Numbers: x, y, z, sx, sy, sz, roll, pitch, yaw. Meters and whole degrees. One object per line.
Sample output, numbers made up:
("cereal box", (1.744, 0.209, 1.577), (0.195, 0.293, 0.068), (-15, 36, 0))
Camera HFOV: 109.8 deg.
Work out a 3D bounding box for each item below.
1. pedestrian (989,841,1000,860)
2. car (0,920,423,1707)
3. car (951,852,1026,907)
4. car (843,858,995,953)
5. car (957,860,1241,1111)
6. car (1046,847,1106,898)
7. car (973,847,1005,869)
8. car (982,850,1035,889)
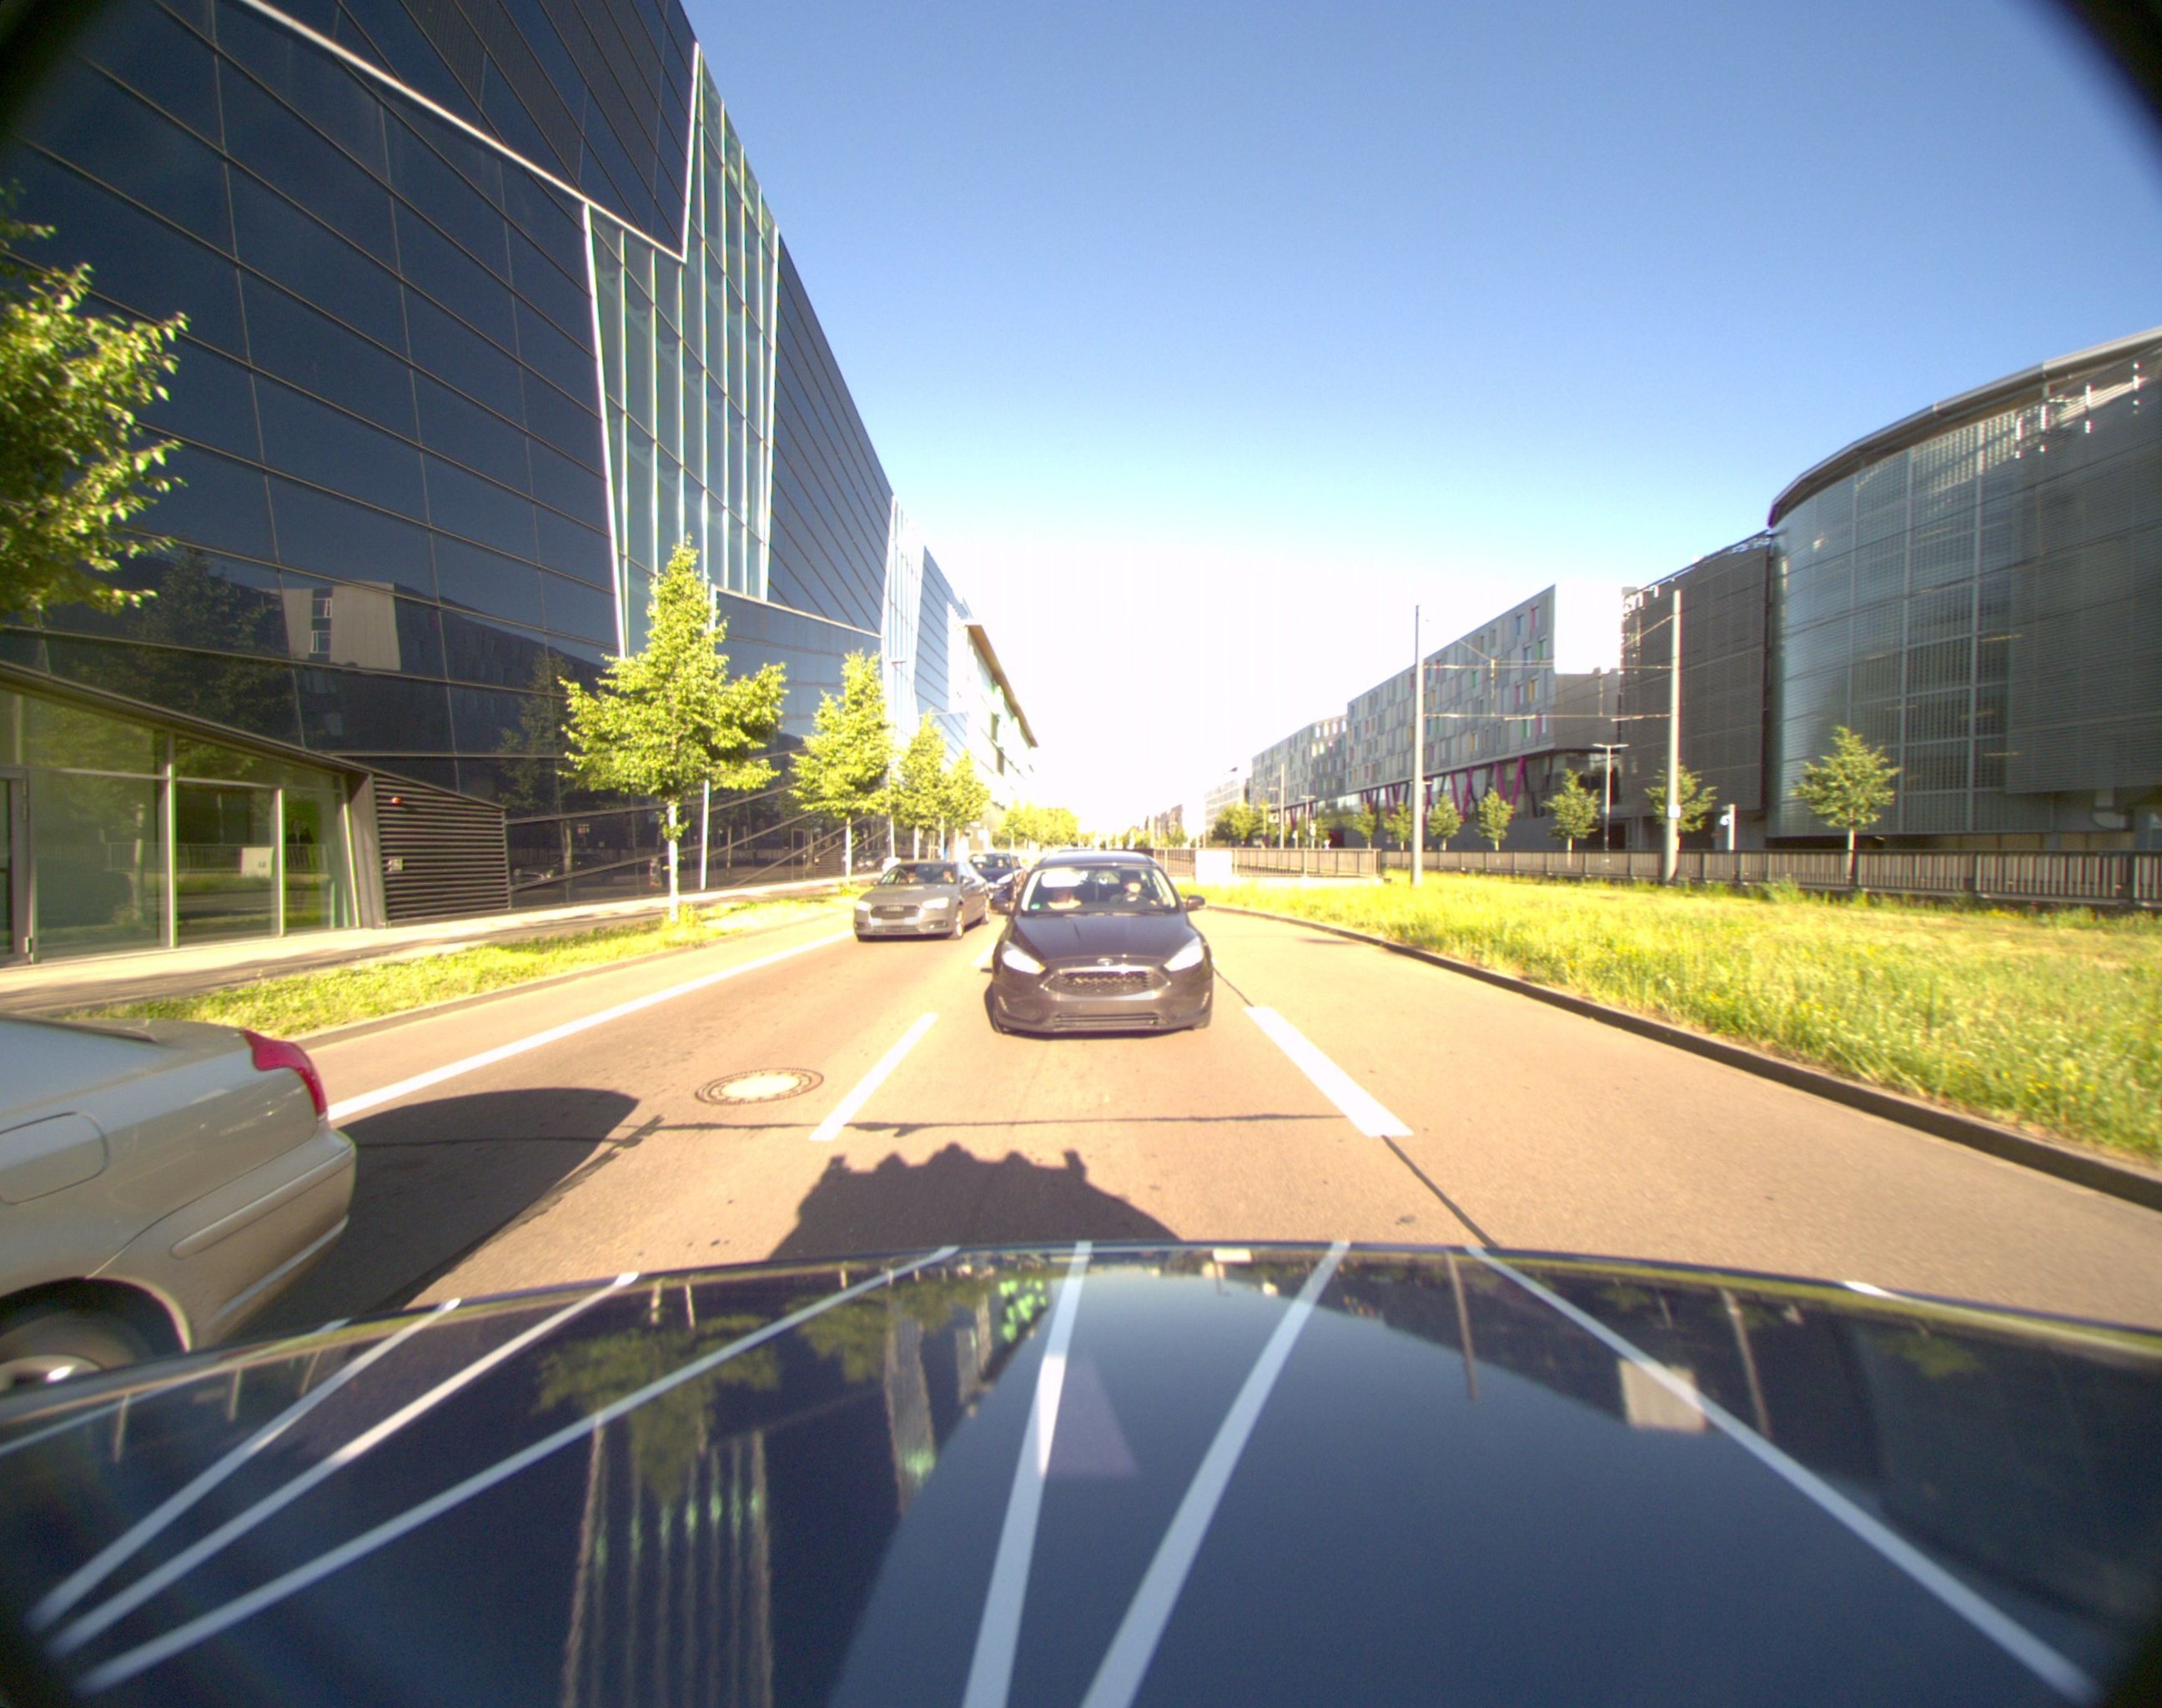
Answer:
("pedestrian", (-8.316, -0.357, 73.207), (0.828, 1.814, 0.905), (3, 1, 0))
("car", (-3.009, 0.995, 0.148), (1.750, 1.473, 4.627), (0, 1, -1))
("car", (-2.734, 0.705, 23.216), (1.753, 1.470, 3.971), (-1, 1, 0))
("car", (-2.828, 0.842, 14.261), (1.750, 1.384, 4.264), (-1, 1, 3))
("car", (0.132, 0.863, 7.151), (1.787, 1.499, 4.589), (-1, 1, 0))
("car", (-0.132, 0.572, 26.509), (1.907, 1.612, 3.999), (0, 1, 1))
("car", (-6.874, 0.265, 57.118), (1.740, 1.490, 4.715), (2, 1, 0))
("car", (-2.896, 0.578, 30.846), (1.753, 1.470, 3.417), (-1, 1, 0))
